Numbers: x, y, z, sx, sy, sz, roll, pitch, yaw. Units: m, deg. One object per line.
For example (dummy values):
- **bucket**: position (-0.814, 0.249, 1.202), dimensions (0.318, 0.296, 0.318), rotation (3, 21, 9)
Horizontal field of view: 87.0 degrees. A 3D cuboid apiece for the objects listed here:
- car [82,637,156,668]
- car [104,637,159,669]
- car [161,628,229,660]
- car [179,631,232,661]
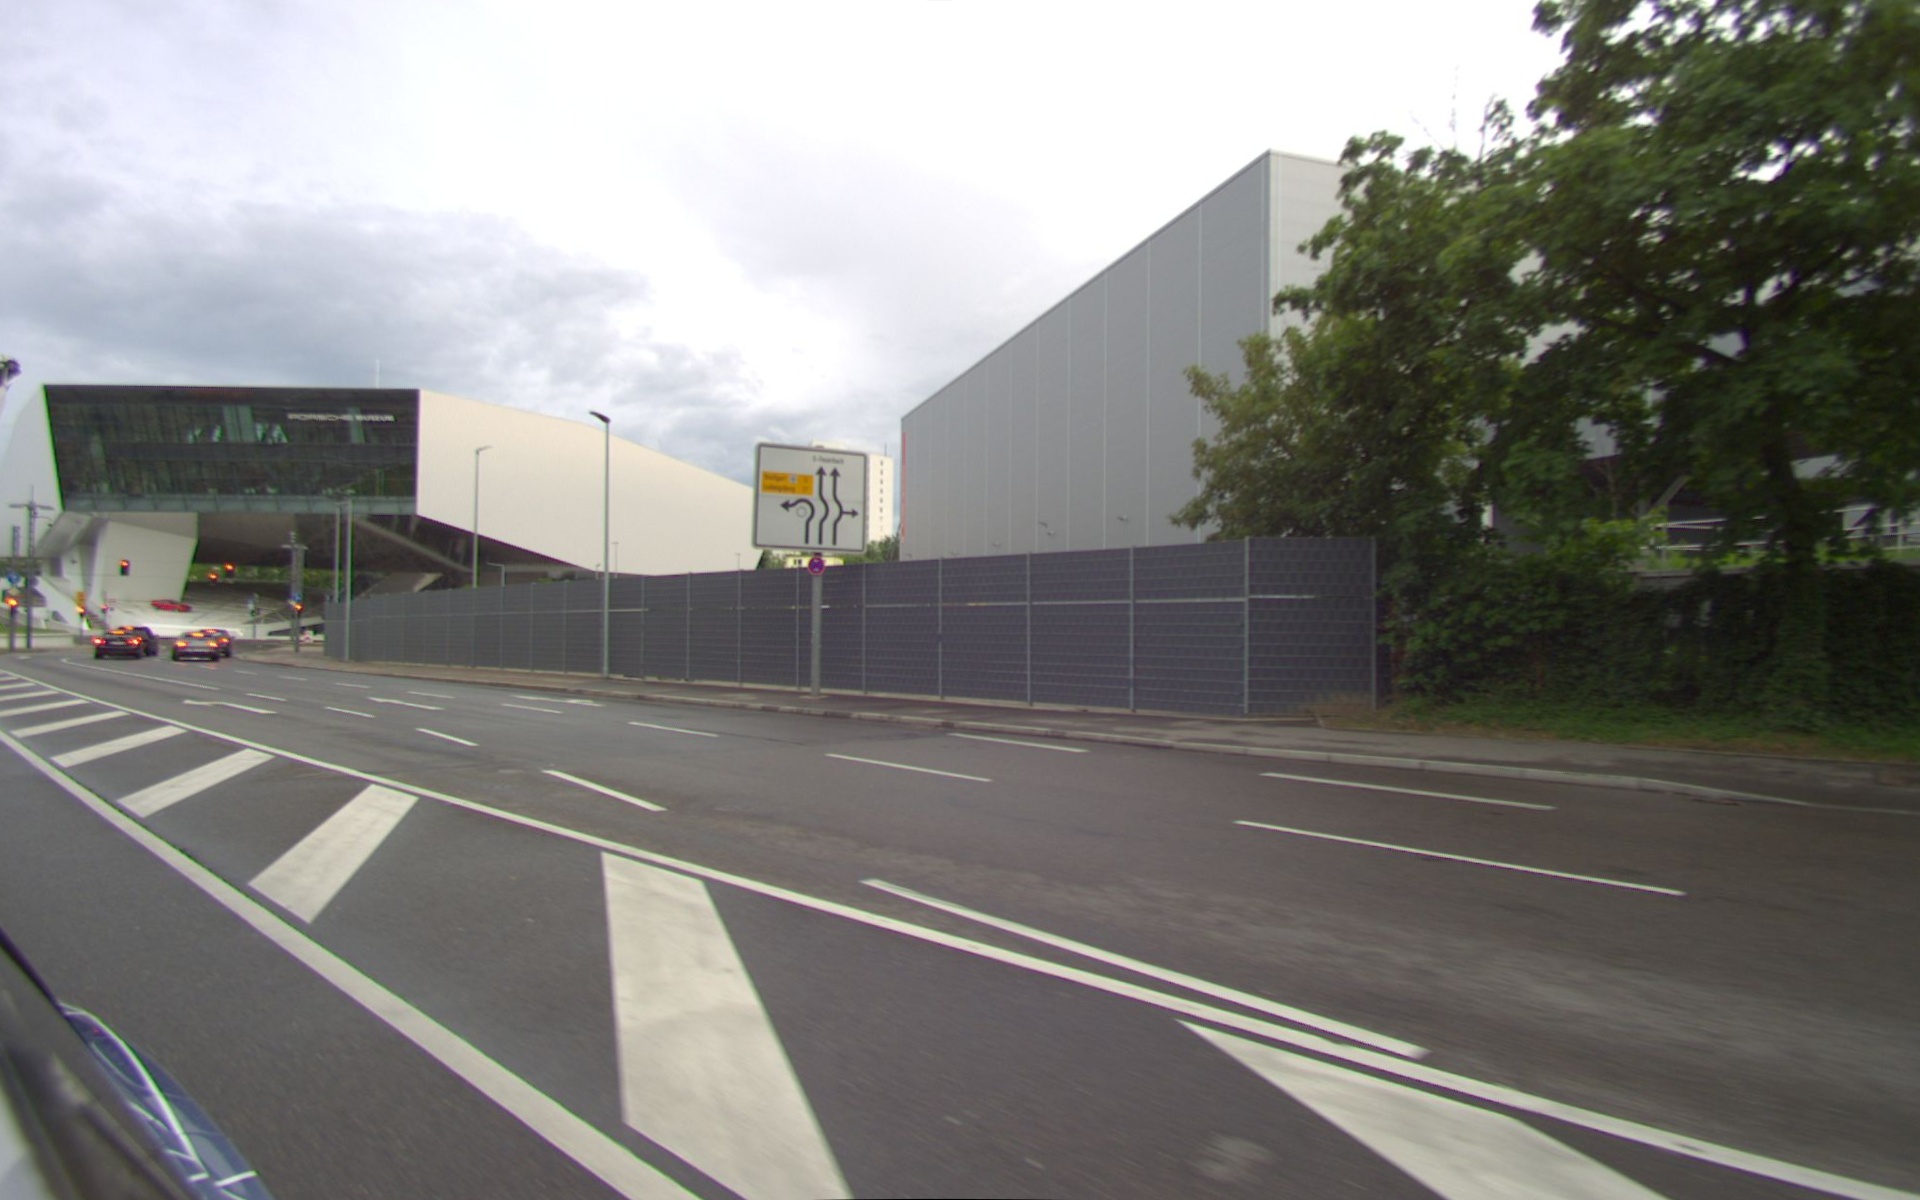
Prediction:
- **car**: position (-41.939, 2.587, 50.547), dimensions (2.221, 1.488, 3.890), rotation (1, -3, -31)
- **car**: position (-45.639, 2.902, 55.823), dimensions (1.850, 1.663, 3.863), rotation (2, -3, -32)
- **car**: position (-37.684, 2.160, 49.965), dimensions (2.233, 1.488, 4.059), rotation (1, -3, -31)
- **car**: position (-42.371, 2.578, 56.912), dimensions (1.834, 1.663, 3.799), rotation (1, -3, -29)
